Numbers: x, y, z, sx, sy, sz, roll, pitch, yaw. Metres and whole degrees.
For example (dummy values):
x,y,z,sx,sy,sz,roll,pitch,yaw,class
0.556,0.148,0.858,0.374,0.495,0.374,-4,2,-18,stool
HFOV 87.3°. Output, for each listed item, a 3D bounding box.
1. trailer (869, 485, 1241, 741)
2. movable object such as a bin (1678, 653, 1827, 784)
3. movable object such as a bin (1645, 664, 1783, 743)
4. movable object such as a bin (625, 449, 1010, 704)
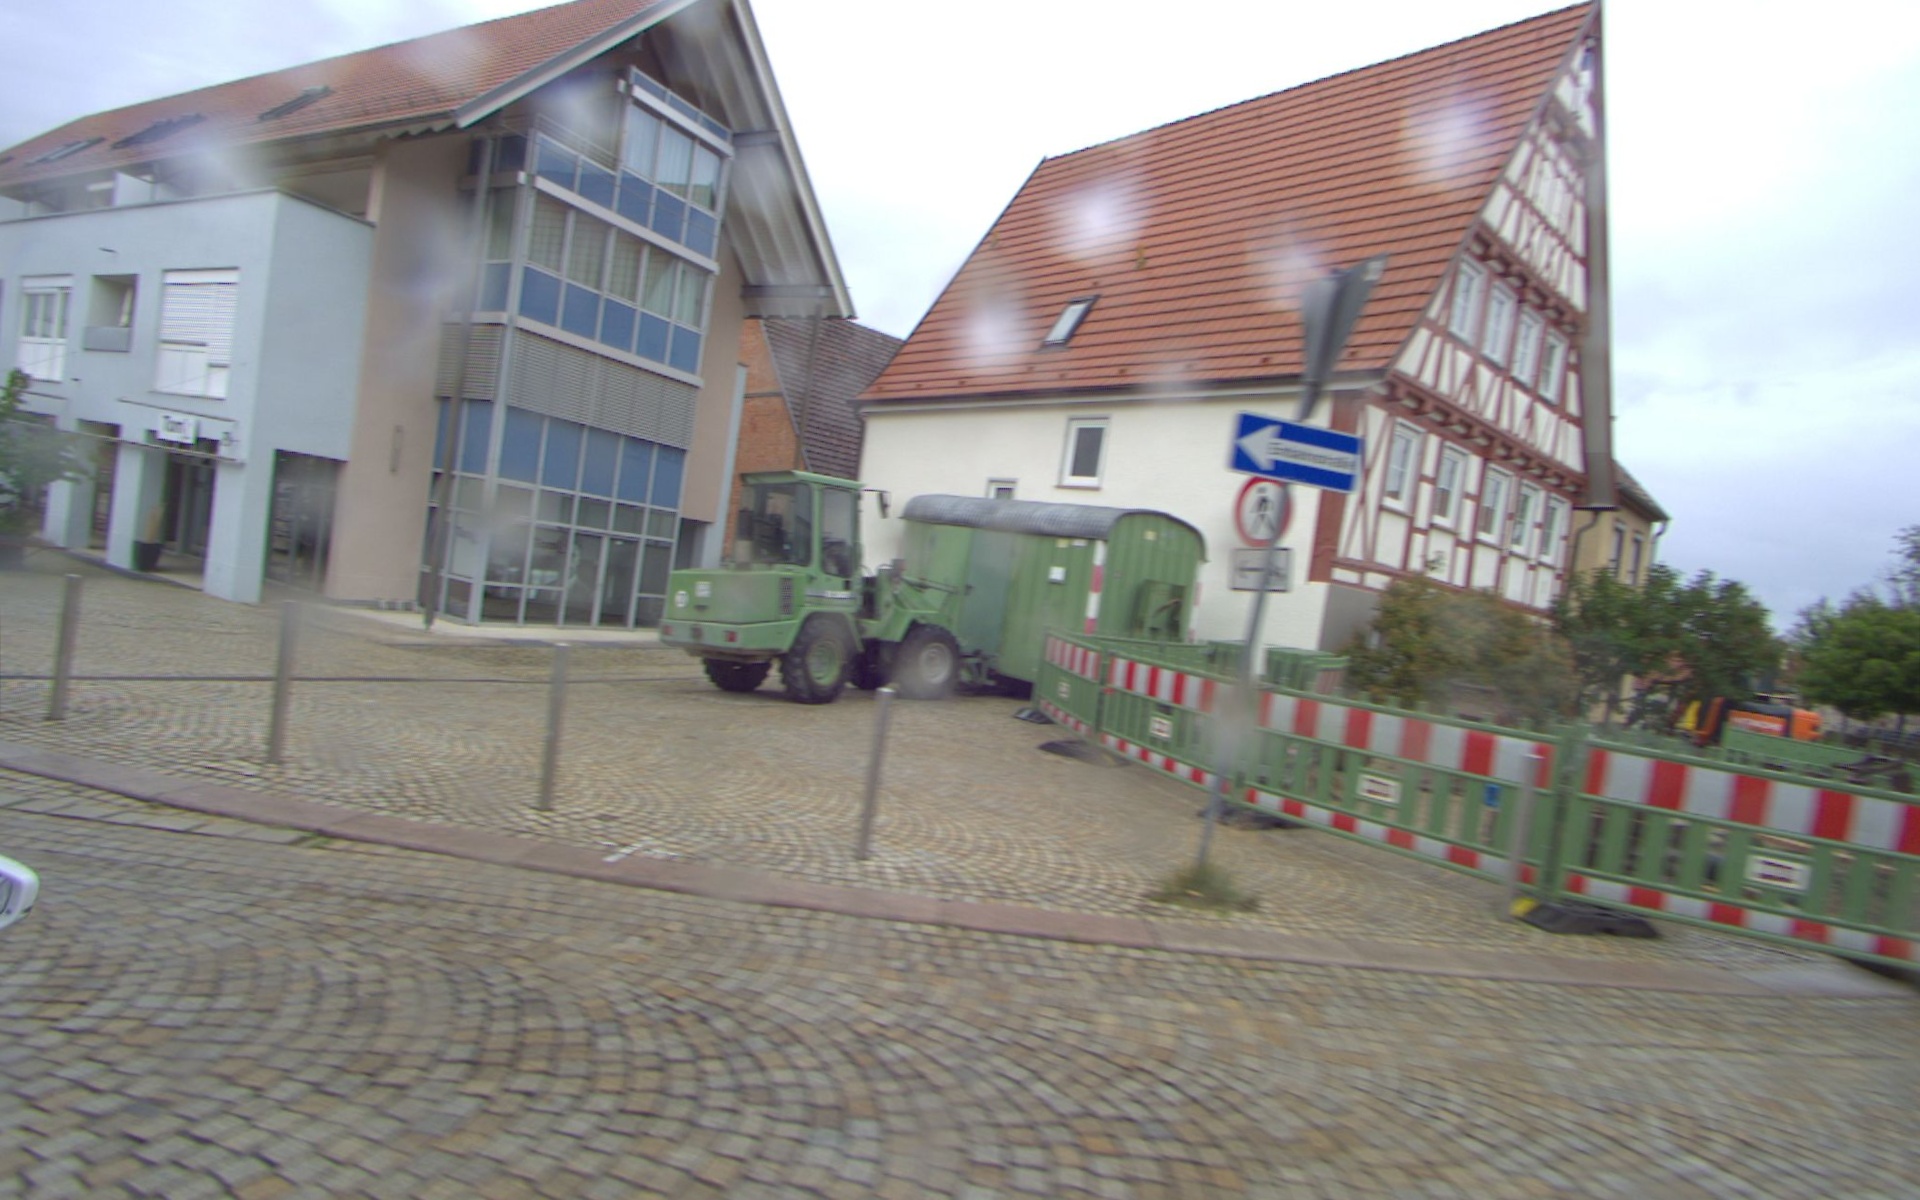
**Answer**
x,y,z,sx,sy,sz,roll,pitch,yaw,class
1.229,0.088,14.719,2.477,2.871,4.574,9,2,-43,trailer
15.389,2.293,19.576,1.883,2.037,3.986,8,-1,39,movable object such as a bin
26.969,3.690,36.191,3.356,2.038,3.472,11,1,32,movable object such as a bin
-1.597,-0.154,12.460,1.886,2.586,4.268,7,0,43,movable object such as a bin
